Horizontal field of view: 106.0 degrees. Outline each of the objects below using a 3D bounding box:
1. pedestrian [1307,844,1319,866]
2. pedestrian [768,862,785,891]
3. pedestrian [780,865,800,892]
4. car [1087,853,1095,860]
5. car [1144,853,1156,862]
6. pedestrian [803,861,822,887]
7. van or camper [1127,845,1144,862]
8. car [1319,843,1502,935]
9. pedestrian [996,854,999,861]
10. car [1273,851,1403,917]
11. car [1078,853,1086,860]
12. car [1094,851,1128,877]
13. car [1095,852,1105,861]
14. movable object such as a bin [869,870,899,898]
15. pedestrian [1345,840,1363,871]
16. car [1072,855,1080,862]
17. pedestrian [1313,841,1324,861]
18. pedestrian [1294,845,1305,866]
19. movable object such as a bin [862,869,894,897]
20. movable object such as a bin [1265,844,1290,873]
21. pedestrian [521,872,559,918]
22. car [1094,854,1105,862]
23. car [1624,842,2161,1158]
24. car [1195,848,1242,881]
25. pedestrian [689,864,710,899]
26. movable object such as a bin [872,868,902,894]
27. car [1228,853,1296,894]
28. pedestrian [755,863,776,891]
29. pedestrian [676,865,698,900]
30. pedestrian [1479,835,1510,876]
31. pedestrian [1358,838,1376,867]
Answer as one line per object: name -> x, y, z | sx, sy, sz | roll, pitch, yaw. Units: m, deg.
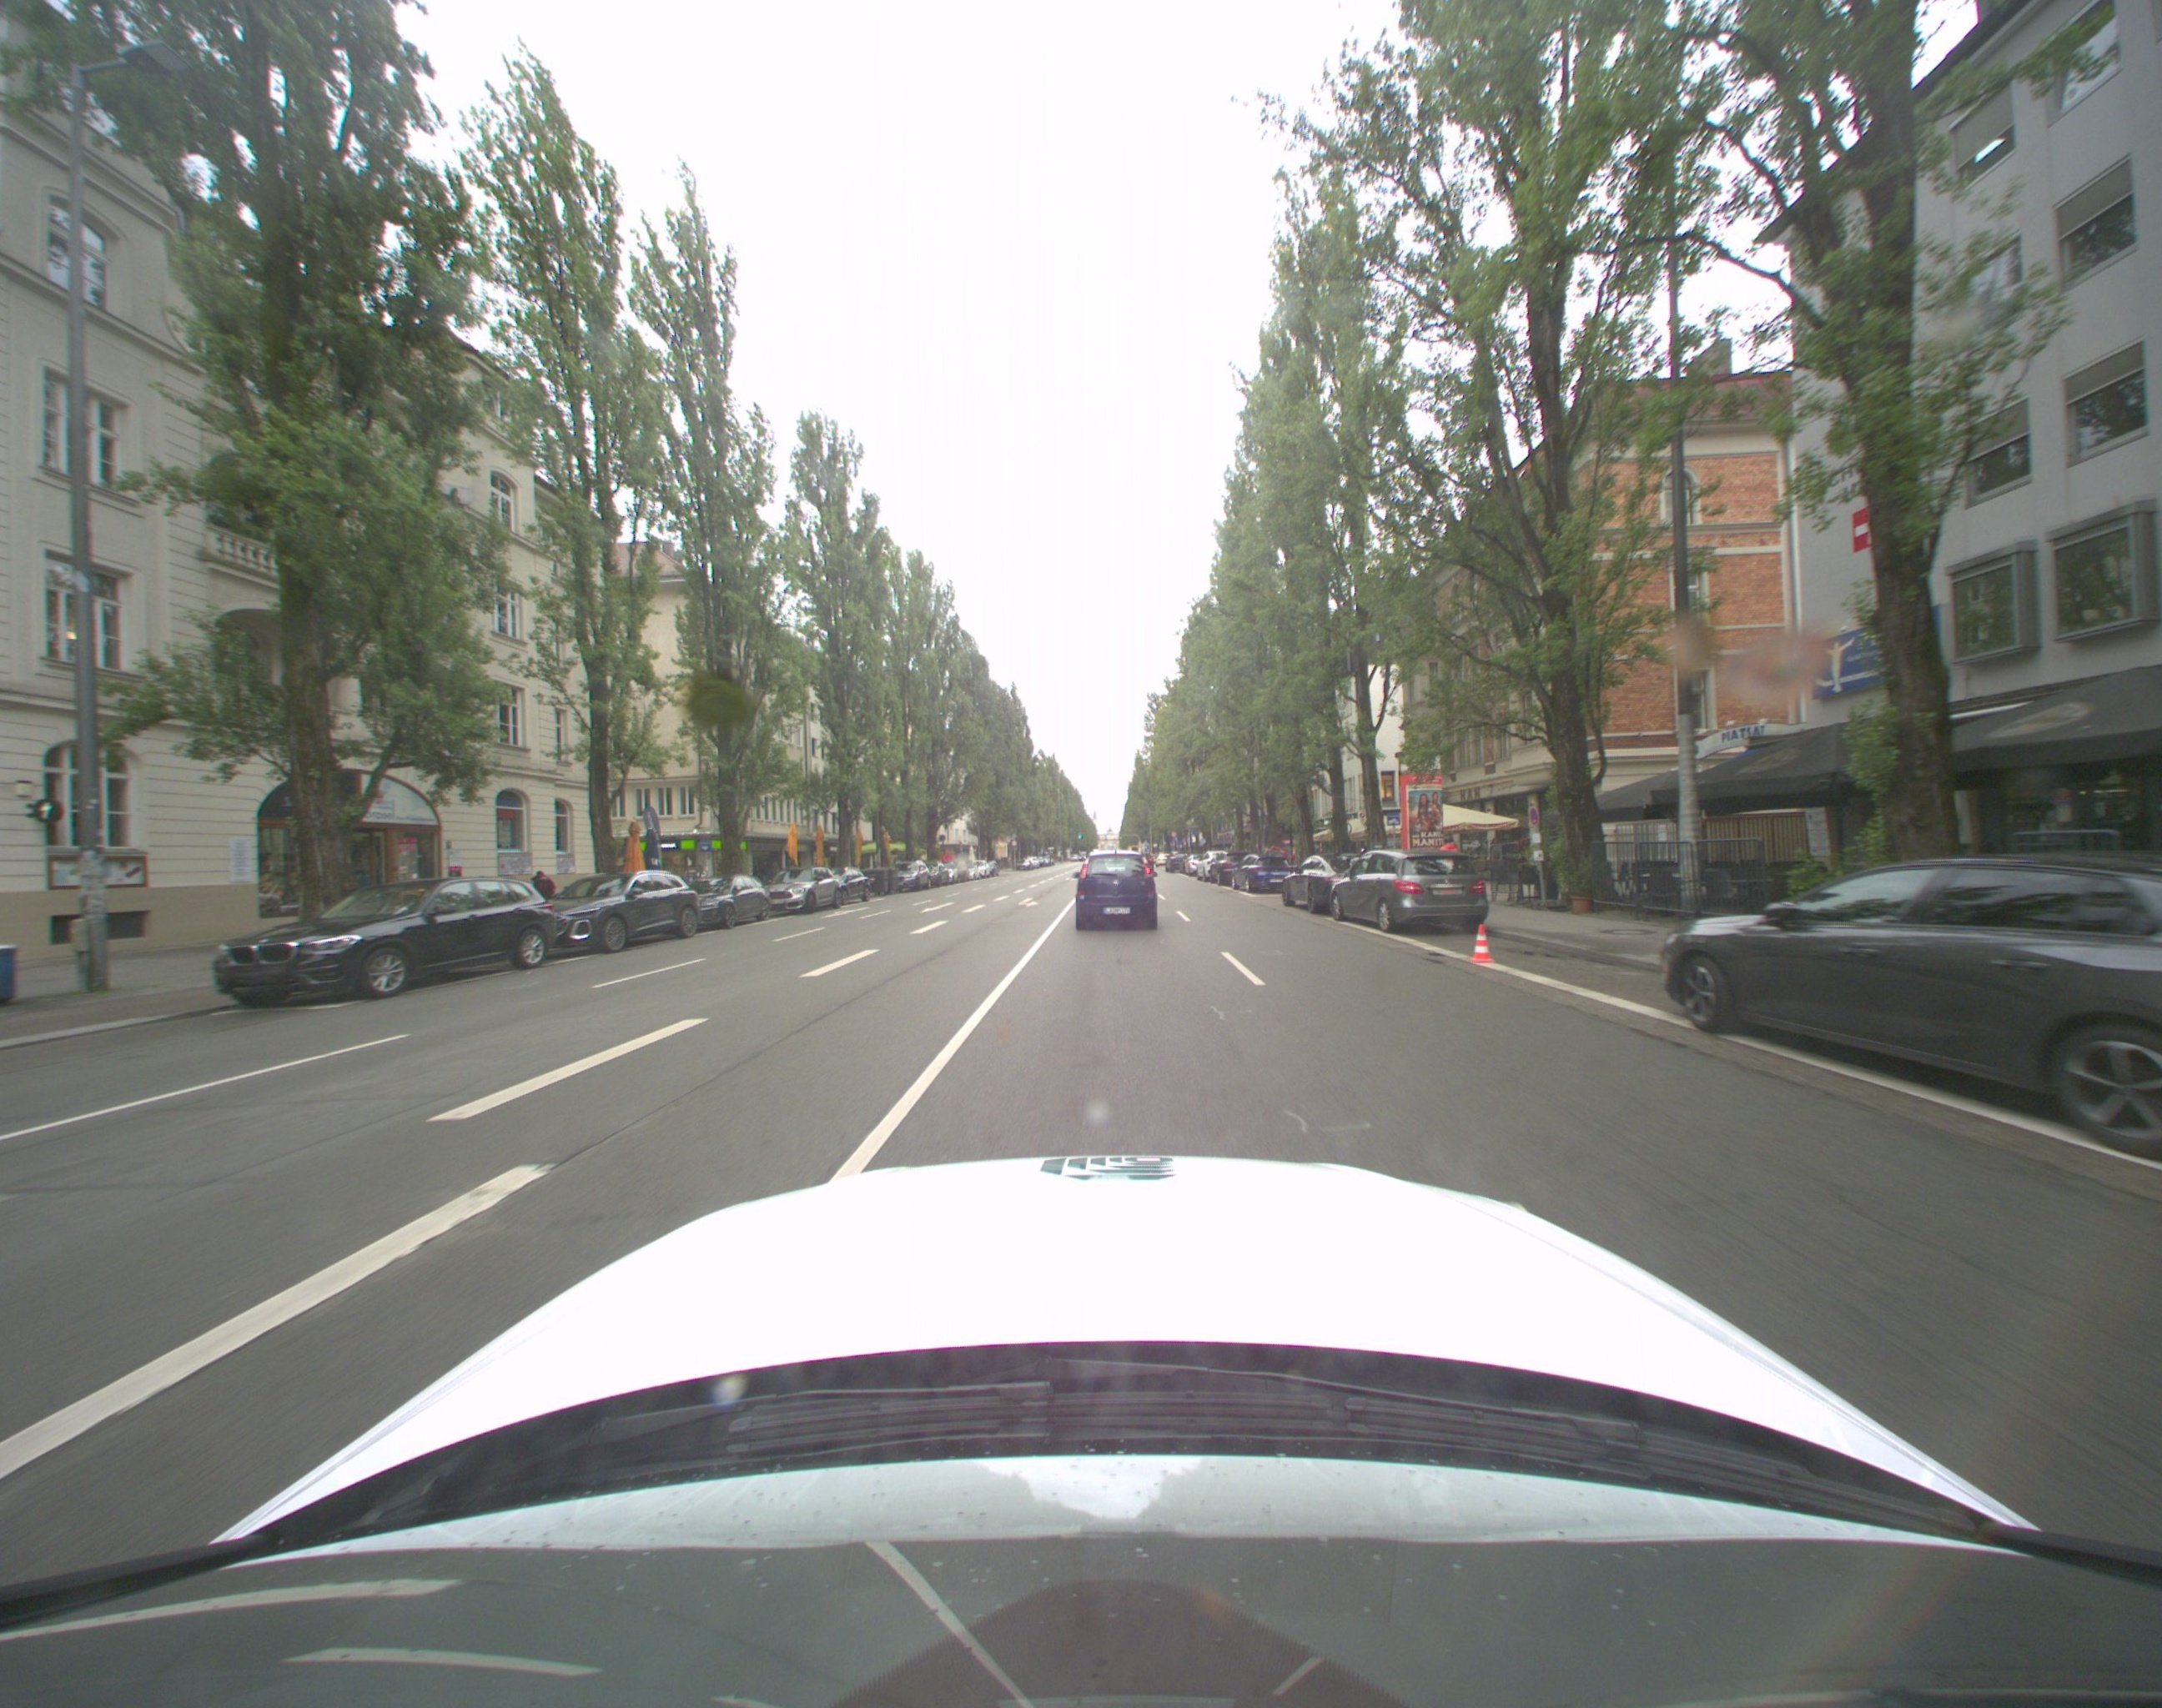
pedestrian -> 17.611, 0.100, 61.870 | 0.652, 1.626, 0.704 | -2, 0, -1
pedestrian -> -18.680, 1.382, 49.970 | 0.622, 1.721, 0.827 | -2, 0, 2
pedestrian -> -19.854, 1.667, 55.648 | 0.848, 1.744, 1.149 | -2, 0, 2
car -> 2.593, 0.672, 210.145 | 1.828, 1.677, 3.780 | -2, 0, 1
car -> 10.683, 0.495, 125.698 | 1.663, 1.352, 4.107 | -2, 0, 2
pedestrian -> -18.518, 1.377, 56.204 | 0.848, 1.744, 1.149 | -2, 0, 2
van or camper -> 9.074, -0.080, 136.291 | 2.467, 2.581, 5.848 | -2, 0, 2
car -> 6.319, 0.614, 16.199 | 1.811, 1.506, 4.230 | -2, 0, -1
pedestrian -> -13.515, 0.551, 131.930 | 0.287, 1.090, 0.259 | -2, 0, 7
car -> 6.471, 0.688, 21.106 | 1.872, 1.432, 4.805 | -2, 0, 1
car -> 0.232, 0.764, 212.901 | 1.828, 1.739, 3.780 | -2, 0, 1
car -> 1.856, 0.610, 51.088 | 1.986, 1.497, 4.001 | -2, 0, 1
car -> 3.892, 0.448, 166.088 | 1.828, 1.761, 3.780 | -2, 0, 1
movable object such as a bin -> -10.013, 1.519, 41.488 | 1.255, 1.317, 0.825 | -2, 0, 0
pedestrian -> 16.254, 0.113, 48.504 | 0.726, 1.802, 0.932 | -2, 0, 2
car -> -1.411, 1.196, 219.308 | 1.954, 1.549, 3.780 | -2, 0, 1
pedestrian -> 19.029, -0.236, 65.319 | 0.652, 1.626, 0.704 | -2, 0, -1
pedestrian -> 18.770, 0.129, 70.106 | 0.724, 1.751, 0.860 | -1, -1, 2
movable object such as a bin -> -9.812, 1.402, 39.381 | 1.272, 1.310, 0.902 | -2, 0, 2
movable object such as a bin -> 11.962, 0.294, 49.701 | 1.030, 1.703, 1.586 | -2, 0, -2
pedestrian -> -18.552, 1.394, 27.932 | 0.765, 1.537, 0.805 | -1, -1, 1
car -> 3.634, 0.772, 159.002 | 1.954, 1.399, 3.780 | -2, 0, 1
car -> 5.789, 0.663, 5.242 | 1.714, 1.442, 4.353 | 0, 0, 0
car -> 7.288, 0.546, 43.666 | 1.820, 1.621, 4.749 | -1, 0, 1
pedestrian -> -19.145, 1.375, 40.868 | 0.623, 1.721, 0.827 | -2, 0, 1
movable object such as a bin -> -10.098, 1.392, 42.384 | 1.309, 1.317, 0.819 | -2, 0, 0
car -> 6.914, 0.705, 31.540 | 1.743, 1.405, 4.466 | -2, 0, 2
pedestrian -> -20.454, 1.475, 52.875 | 0.848, 1.744, 1.149 | -2, 0, 2
pedestrian -> -19.781, 1.421, 40.883 | 0.623, 1.721, 0.827 | -2, 0, 1
pedestrian -> 16.672, 0.067, 32.849 | 0.726, 1.609, 0.991 | -2, 0, 2
pedestrian -> 17.009, -0.080, 48.461 | 0.726, 1.677, 0.932 | -2, 0, 2
